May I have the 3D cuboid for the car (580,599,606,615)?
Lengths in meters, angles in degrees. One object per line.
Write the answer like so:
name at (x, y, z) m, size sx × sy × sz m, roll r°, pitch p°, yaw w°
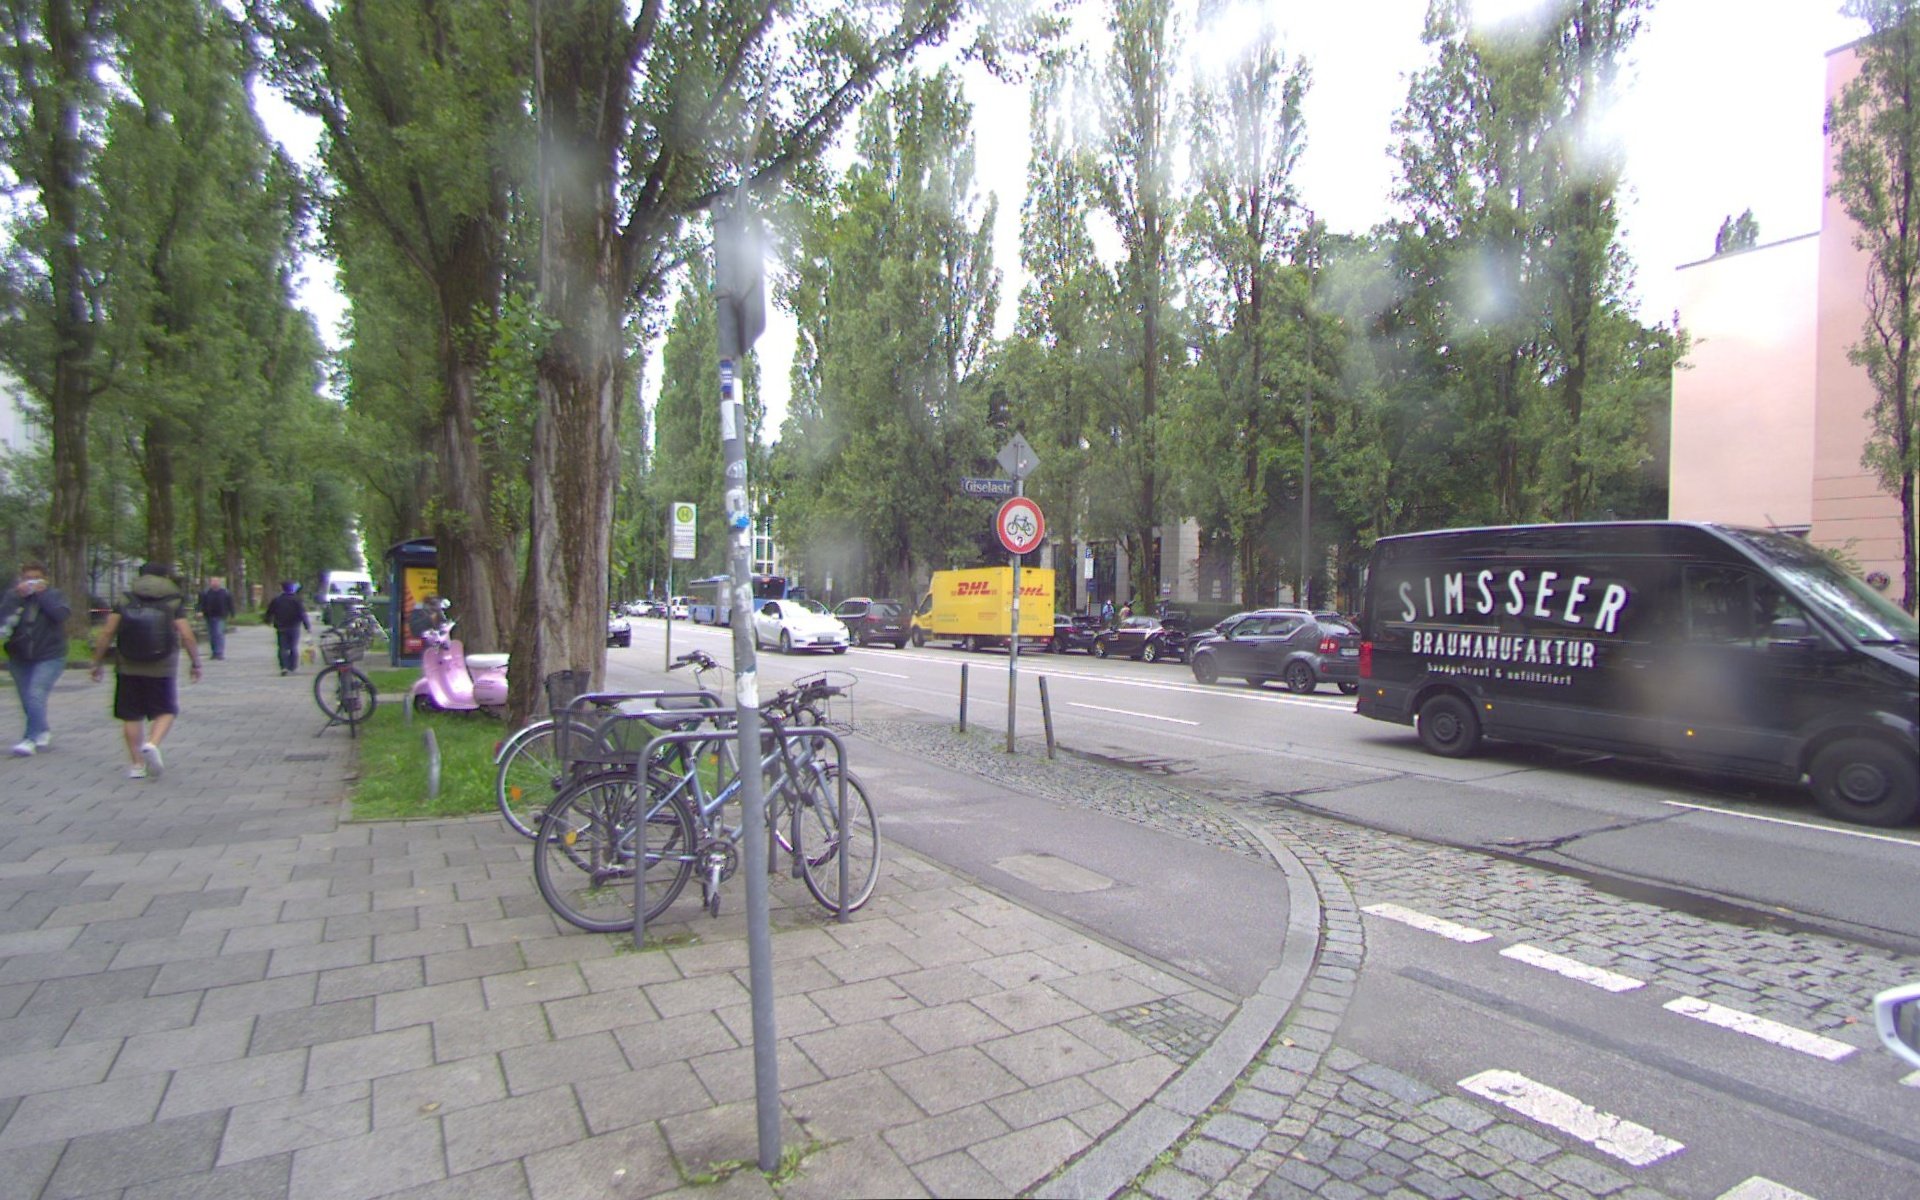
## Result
car at (-41.882, 0.830, 114.601) m, size 1.977 × 1.745 × 4.314 m, roll 2°, pitch -1°, yaw -30°

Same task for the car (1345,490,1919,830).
car at (7.029, 0.450, 10.156) m, size 2.059 × 2.590 × 5.882 m, roll -1°, pitch 0°, yaw -31°

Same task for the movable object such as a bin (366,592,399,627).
movable object such as a bin at (-22.431, 0.375, 39.000) m, size 1.052 × 1.329 × 0.974 m, roll 1°, pitch 0°, yaw -34°

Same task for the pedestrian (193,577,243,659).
pedestrian at (-15.704, 0.378, 21.281) m, size 0.726 × 1.715 × 0.642 m, roll 1°, pitch 0°, yaw -27°

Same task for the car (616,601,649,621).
car at (-31.442, 1.042, 96.341) m, size 1.976 × 1.745 × 4.777 m, roll 2°, pitch -1°, yaw -30°

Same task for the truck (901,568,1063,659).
truck at (0.589, 0.442, 36.069) m, size 2.570 × 2.946 × 7.024 m, roll 1°, pitch 0°, yaw -29°

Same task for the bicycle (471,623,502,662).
bicycle at (-13.300, 1.180, 28.191) m, size 0.548 × 1.036 × 1.746 m, roll 1°, pitch 0°, yaw -33°

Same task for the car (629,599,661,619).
car at (-28.806, 0.833, 91.735) m, size 1.977 × 1.745 × 4.087 m, roll 2°, pitch -1°, yaw -30°

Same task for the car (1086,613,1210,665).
car at (5.853, 1.196, 31.675) m, size 1.773 × 1.431 × 3.850 m, roll 1°, pitch 0°, yaw -30°

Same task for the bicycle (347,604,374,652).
bicycle at (-15.956, 0.722, 26.751) m, size 0.576 × 1.204 × 2.124 m, roll 1°, pitch 0°, yaw -30°

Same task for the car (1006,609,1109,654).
car at (3.439, 1.110, 36.249) m, size 1.773 × 1.431 × 3.850 m, roll 1°, pitch 0°, yaw -30°

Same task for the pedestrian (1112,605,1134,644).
pedestrian at (7.381, 1.088, 45.461) m, size 0.701 × 1.736 × 0.726 m, roll 1°, pitch 0°, yaw -30°

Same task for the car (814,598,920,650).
car at (-3.439, 0.831, 36.312) m, size 1.976 × 1.745 × 4.777 m, roll 2°, pitch -1°, yaw -30°

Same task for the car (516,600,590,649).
car at (-15.790, 0.960, 38.832) m, size 1.990 × 1.780 × 3.965 m, roll 0°, pitch -2°, yaw -32°

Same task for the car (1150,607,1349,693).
car at (5.832, 0.958, 20.638) m, size 1.827 × 1.547 × 3.723 m, roll 2°, pitch -1°, yaw -29°

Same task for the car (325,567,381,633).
car at (-29.832, 0.012, 49.303) m, size 2.176 × 3.057 × 5.947 m, roll 1°, pitch 0°, yaw -32°

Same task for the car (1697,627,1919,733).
car at (15.047, 1.268, 16.468) m, size 1.772 × 1.549 × 4.478 m, roll 1°, pitch 0°, yaw -30°

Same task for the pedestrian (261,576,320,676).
pedestrian at (-12.030, 0.454, 18.075) m, size 0.849 × 1.734 × 0.950 m, roll 1°, pitch 0°, yaw -33°

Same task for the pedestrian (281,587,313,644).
pedestrian at (-20.321, 0.479, 30.801) m, size 0.726 × 1.715 × 0.642 m, roll 1°, pitch 0°, yaw -27°

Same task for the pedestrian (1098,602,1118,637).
pedestrian at (7.374, 0.963, 50.071) m, size 0.701 × 1.736 × 0.726 m, roll 1°, pitch 0°, yaw -30°

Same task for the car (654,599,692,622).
car at (-23.431, 0.829, 81.895) m, size 1.977 × 1.745 × 4.087 m, roll 2°, pitch -1°, yaw -30°

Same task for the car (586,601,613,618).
car at (-39.611, 1.070, 110.294) m, size 1.977 × 1.745 × 4.314 m, roll 2°, pitch -1°, yaw -30°

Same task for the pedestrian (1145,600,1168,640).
pedestrian at (8.793, 0.896, 44.928) m, size 0.701 × 1.736 × 0.726 m, roll 1°, pitch 0°, yaw -30°

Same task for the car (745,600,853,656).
car at (-5.097, 0.794, 31.278) m, size 1.975 × 1.596 × 4.605 m, roll -1°, pitch 0°, yaw -28°

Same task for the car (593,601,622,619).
car at (-37.122, 1.050, 105.758) m, size 1.976 × 1.745 × 4.777 m, roll 2°, pitch -1°, yaw -30°

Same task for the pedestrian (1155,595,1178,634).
pedestrian at (9.347, 0.668, 45.381) m, size 0.701 × 1.736 × 0.726 m, roll 1°, pitch 0°, yaw -30°

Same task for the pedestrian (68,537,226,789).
pedestrian at (-6.158, 0.463, 7.656) m, size 0.743 × 1.796 × 0.701 m, roll 2°, pitch -1°, yaw -26°

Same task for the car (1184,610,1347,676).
car at (8.262, 1.100, 27.550) m, size 1.772 × 1.622 × 4.202 m, roll 1°, pitch 0°, yaw -30°

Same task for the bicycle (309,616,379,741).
bicycle at (-6.515, 0.782, 10.660) m, size 0.576 × 1.204 × 1.602 m, roll 1°, pitch 0°, yaw -31°

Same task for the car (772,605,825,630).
car at (-9.490, 0.998, 58.744) m, size 1.772 × 1.431 × 3.850 m, roll 1°, pitch 0°, yaw -30°

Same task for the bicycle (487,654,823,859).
bicycle at (-1.877, 0.913, 6.295) m, size 1.958 × 1.108 × 0.488 m, roll 1°, pitch 0°, yaw -26°

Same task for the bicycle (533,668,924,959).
bicycle at (-1.035, 0.896, 4.623) m, size 1.680 × 1.108 × 0.488 m, roll 1°, pitch 0°, yaw -26°

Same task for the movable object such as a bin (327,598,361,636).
movable object such as a bin at (-23.229, 0.640, 37.868) m, size 1.052 × 1.423 × 0.974 m, roll 1°, pitch 0°, yaw -34°

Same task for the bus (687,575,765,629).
bus at (-14.901, 0.166, 63.355) m, size 2.887 × 3.092 × 9.735 m, roll 1°, pitch -1°, yaw -25°

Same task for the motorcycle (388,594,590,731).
motorcycle at (-5.067, 0.637, 10.806) m, size 1.951 × 1.211 × 0.630 m, roll 6°, pitch 1°, yaw 15°

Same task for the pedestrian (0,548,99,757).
pedestrian at (-8.111, 0.442, 8.817) m, size 0.634 × 1.750 × 0.701 m, roll 1°, pitch 0°, yaw 35°

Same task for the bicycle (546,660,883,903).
bicycle at (-1.289, 0.900, 5.379) m, size 1.680 × 1.108 × 0.488 m, roll 1°, pitch 0°, yaw -26°

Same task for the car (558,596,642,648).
car at (-11.947, 0.673, 33.175) m, size 1.988 × 1.602 × 3.968 m, roll 1°, pitch 0°, yaw -30°

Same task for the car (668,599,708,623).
car at (-21.037, 0.818, 77.603) m, size 1.977 × 1.745 × 4.087 m, roll 2°, pitch -1°, yaw -30°

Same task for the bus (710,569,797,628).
bus at (-11.783, -0.028, 56.710) m, size 2.888 × 3.092 × 8.464 m, roll 1°, pitch -1°, yaw -25°
